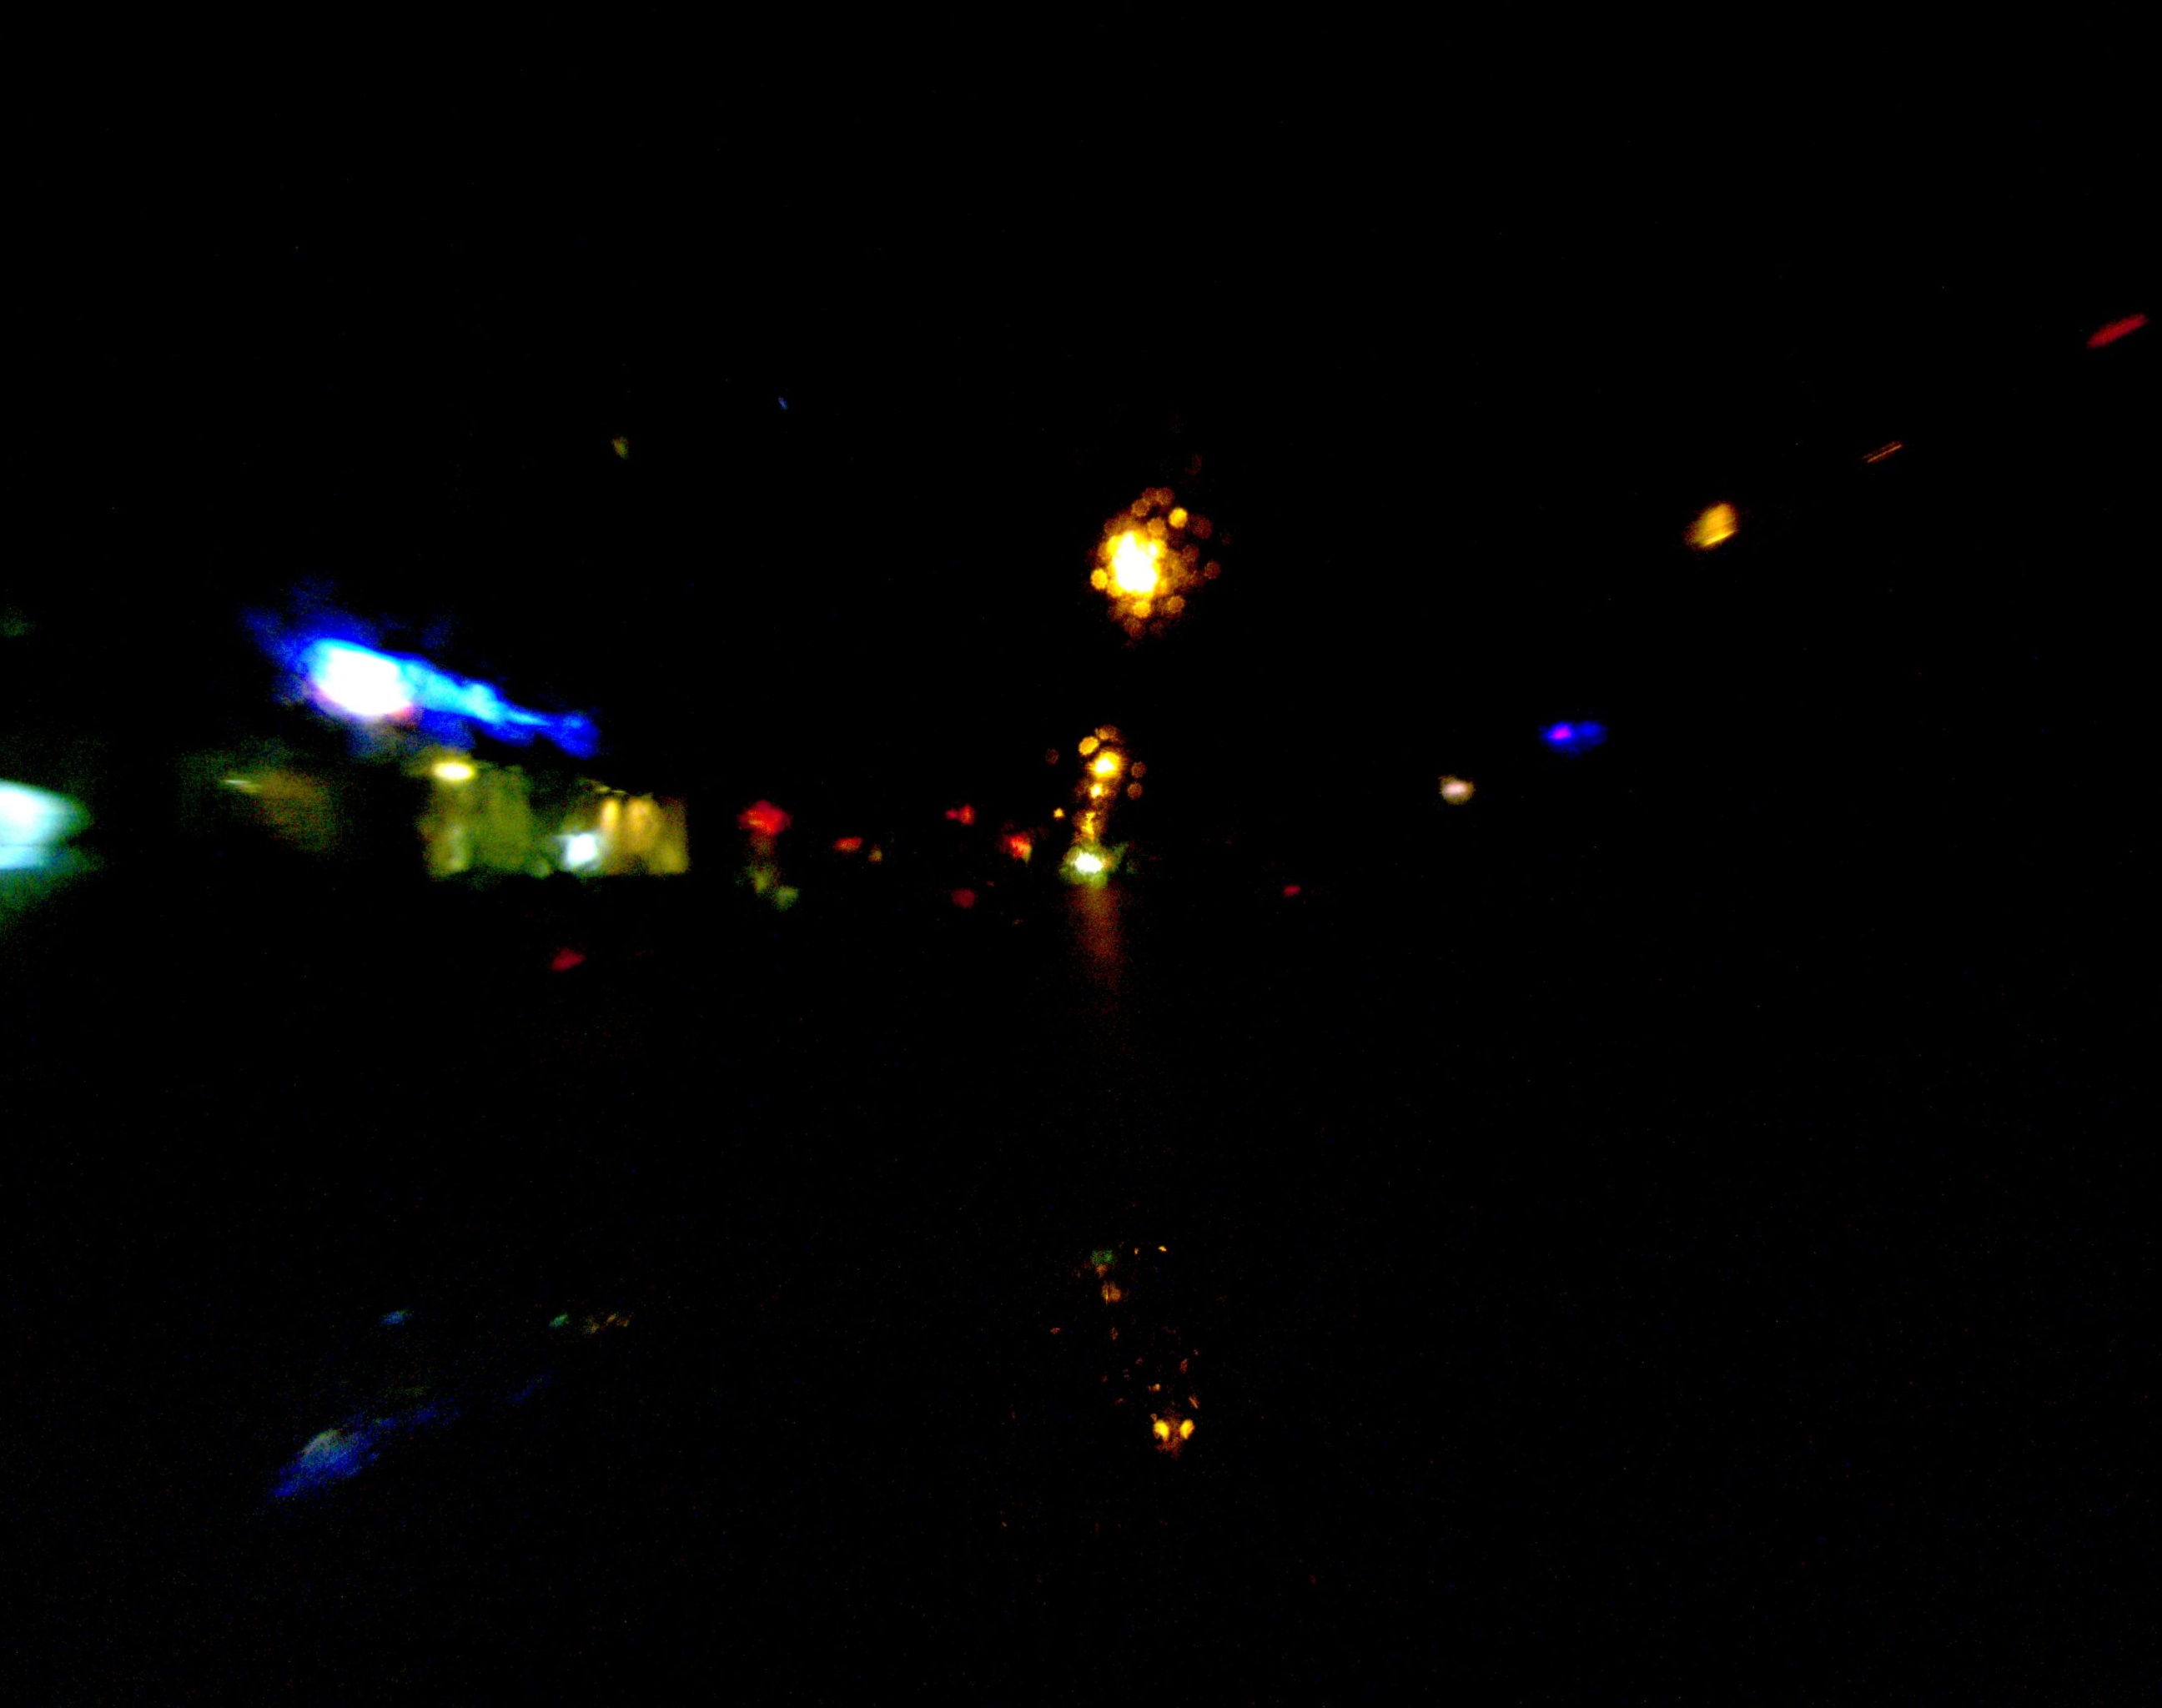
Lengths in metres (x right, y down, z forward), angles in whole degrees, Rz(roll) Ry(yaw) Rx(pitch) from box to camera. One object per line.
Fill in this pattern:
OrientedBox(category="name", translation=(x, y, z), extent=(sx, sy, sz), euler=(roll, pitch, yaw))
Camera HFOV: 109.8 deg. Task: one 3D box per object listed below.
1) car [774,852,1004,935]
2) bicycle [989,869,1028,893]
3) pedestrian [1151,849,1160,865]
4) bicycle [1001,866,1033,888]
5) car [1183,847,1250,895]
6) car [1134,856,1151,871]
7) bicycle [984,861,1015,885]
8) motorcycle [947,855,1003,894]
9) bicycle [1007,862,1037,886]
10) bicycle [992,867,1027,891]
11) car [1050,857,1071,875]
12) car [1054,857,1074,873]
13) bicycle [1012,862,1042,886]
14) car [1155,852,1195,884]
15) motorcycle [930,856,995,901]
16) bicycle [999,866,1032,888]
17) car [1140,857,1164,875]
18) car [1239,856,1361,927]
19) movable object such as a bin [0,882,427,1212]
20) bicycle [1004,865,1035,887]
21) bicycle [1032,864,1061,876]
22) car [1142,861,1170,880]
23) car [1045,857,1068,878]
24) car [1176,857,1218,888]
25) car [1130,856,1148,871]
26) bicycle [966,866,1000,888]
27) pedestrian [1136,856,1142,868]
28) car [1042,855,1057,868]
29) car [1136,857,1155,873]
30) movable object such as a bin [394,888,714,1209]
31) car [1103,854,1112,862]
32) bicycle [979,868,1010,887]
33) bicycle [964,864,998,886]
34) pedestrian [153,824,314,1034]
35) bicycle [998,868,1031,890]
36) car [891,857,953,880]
OrientedBox(category="car", translation=(-4.079, 0.822, 16.690), extent=(4.524, 1.522, 1.780), euler=(3, 0, 0))
OrientedBox(category="bicycle", translation=(-3.316, 1.224, 34.974), extent=(1.672, 0.947, 0.366), euler=(5, 1, 8))
OrientedBox(category="pedestrian", translation=(8.596, 0.386, 87.761), extent=(0.912, 1.777, 0.629), euler=(-3, 1, 1))
OrientedBox(category="bicycle", translation=(-3.300, 1.173, 39.181), extent=(1.532, 1.018, 0.366), euler=(5, 1, 4))
OrientedBox(category="car", translation=(5.573, 0.672, 31.902), extent=(2.001, 1.818, 5.207), euler=(-1, 0, 1))
OrientedBox(category="car", translation=(6.187, 1.000, 76.637), extent=(1.696, 1.470, 3.385), euler=(-1, -1, 5))
OrientedBox(category="bicycle", translation=(-4.392, 1.022, 41.147), extent=(1.532, 1.195, 0.366), euler=(5, 1, -1))
OrientedBox(category="motorcycle", translation=(-4.564, 0.880, 32.767), extent=(2.178, 1.538, 0.867), euler=(3, 1, 0))
OrientedBox(category="bicycle", translation=(-3.225, 1.098, 41.617), extent=(1.532, 1.195, 0.366), euler=(5, 1, -1))
OrientedBox(category="bicycle", translation=(-3.350, 1.160, 35.544), extent=(1.531, 0.947, 0.366), euler=(5, 1, 8))
OrientedBox(category="car", translation=(-1.839, 1.081, 69.885), extent=(1.689, 1.498, 4.162), euler=(0, 0, 1))
OrientedBox(category="car", translation=(-1.644, 1.087, 75.241), extent=(1.846, 1.498, 4.162), euler=(0, 0, 1))
OrientedBox(category="bicycle", translation=(-2.996, 1.084, 42.066), extent=(1.532, 1.195, 0.366), euler=(5, 1, 3))
OrientedBox(category="car", translation=(5.738, 0.828, 46.939), extent=(1.907, 1.818, 4.829), euler=(-1, 0, 1))
OrientedBox(category="motorcycle", translation=(-4.578, 0.945, 29.557), extent=(2.294, 1.579, 0.867), euler=(3, 1, 0))
OrientedBox(category="bicycle", translation=(-3.196, 1.111, 37.341), extent=(1.533, 0.947, 0.366), euler=(5, 1, -3))
OrientedBox(category="car", translation=(6.006, 0.991, 64.811), extent=(1.731, 1.445, 4.273), euler=(-1, 0, 1))
OrientedBox(category="car", translation=(5.428, 0.855, 19.484), extent=(1.771, 1.474, 4.772), euler=(-4, 0, 1))
OrientedBox(category="movable object such as a bin", translation=(-4.529, 0.878, 3.985), extent=(1.311, 1.421, 1.051), euler=(-1, 0, 10))
OrientedBox(category="bicycle", translation=(-3.255, 1.164, 40.487), extent=(1.532, 1.018, 0.366), euler=(5, 1, -1))
OrientedBox(category="bicycle", translation=(-2.660, 1.255, 58.607), extent=(2.267, 0.889, 0.619), euler=(0, 0, 30))
OrientedBox(category="car", translation=(5.785, 1.261, 58.942), extent=(1.731, 1.384, 4.555), euler=(-1, 0, 1))
OrientedBox(category="car", translation=(-2.030, 1.128, 63.824), extent=(1.676, 1.712, 3.857), euler=(0, 0, 1))
OrientedBox(category="car", translation=(5.709, 0.901, 37.802), extent=(1.573, 1.451, 3.720), euler=(-1, 0, 1))
OrientedBox(category="car", translation=(6.155, 1.013, 80.668), extent=(1.697, 1.470, 3.964), euler=(-1, -1, 2))
OrientedBox(category="bicycle", translation=(-4.817, 1.131, 37.403), extent=(1.533, 0.947, 0.366), euler=(5, 1, -4))
OrientedBox(category="pedestrian", translation=(9.751, 1.343, 127.838), extent=(0.776, 2.002, 0.587), euler=(-3, 1, 1))
OrientedBox(category="car", translation=(-4.192, 0.935, 101.459), extent=(1.846, 1.687, 4.162), euler=(0, 0, 1))
OrientedBox(category="car", translation=(5.992, 0.986, 70.456), extent=(1.531, 1.445, 3.384), euler=(-1, 0, 1))
OrientedBox(category="movable object such as a bin", translation=(-2.993, 0.947, 4.423), extent=(1.344, 1.421, 1.198), euler=(-1, 0, -36))
OrientedBox(category="car", translation=(5.549, 0.846, 159.073), extent=(1.877, 1.386, 4.075), euler=(-1, -1, 4))
OrientedBox(category="bicycle", translation=(-4.506, 1.219, 39.648), extent=(1.532, 0.829, 0.325), euler=(5, 1, 4))
OrientedBox(category="bicycle", translation=(-4.838, 1.022, 36.881), extent=(1.533, 0.947, 0.366), euler=(5, 1, -3))
OrientedBox(category="pedestrian", translation=(-7.572, 0.645, 6.816), extent=(0.704, 1.777, 0.624), euler=(1, -1, 4))
OrientedBox(category="bicycle", translation=(-3.218, 1.202, 36.910), extent=(1.533, 0.947, 0.366), euler=(5, 1, -3))
OrientedBox(category="car", translation=(-11.532, 1.061, 55.225), extent=(3.996, 1.476, 1.895), euler=(-2, 0, 2))
